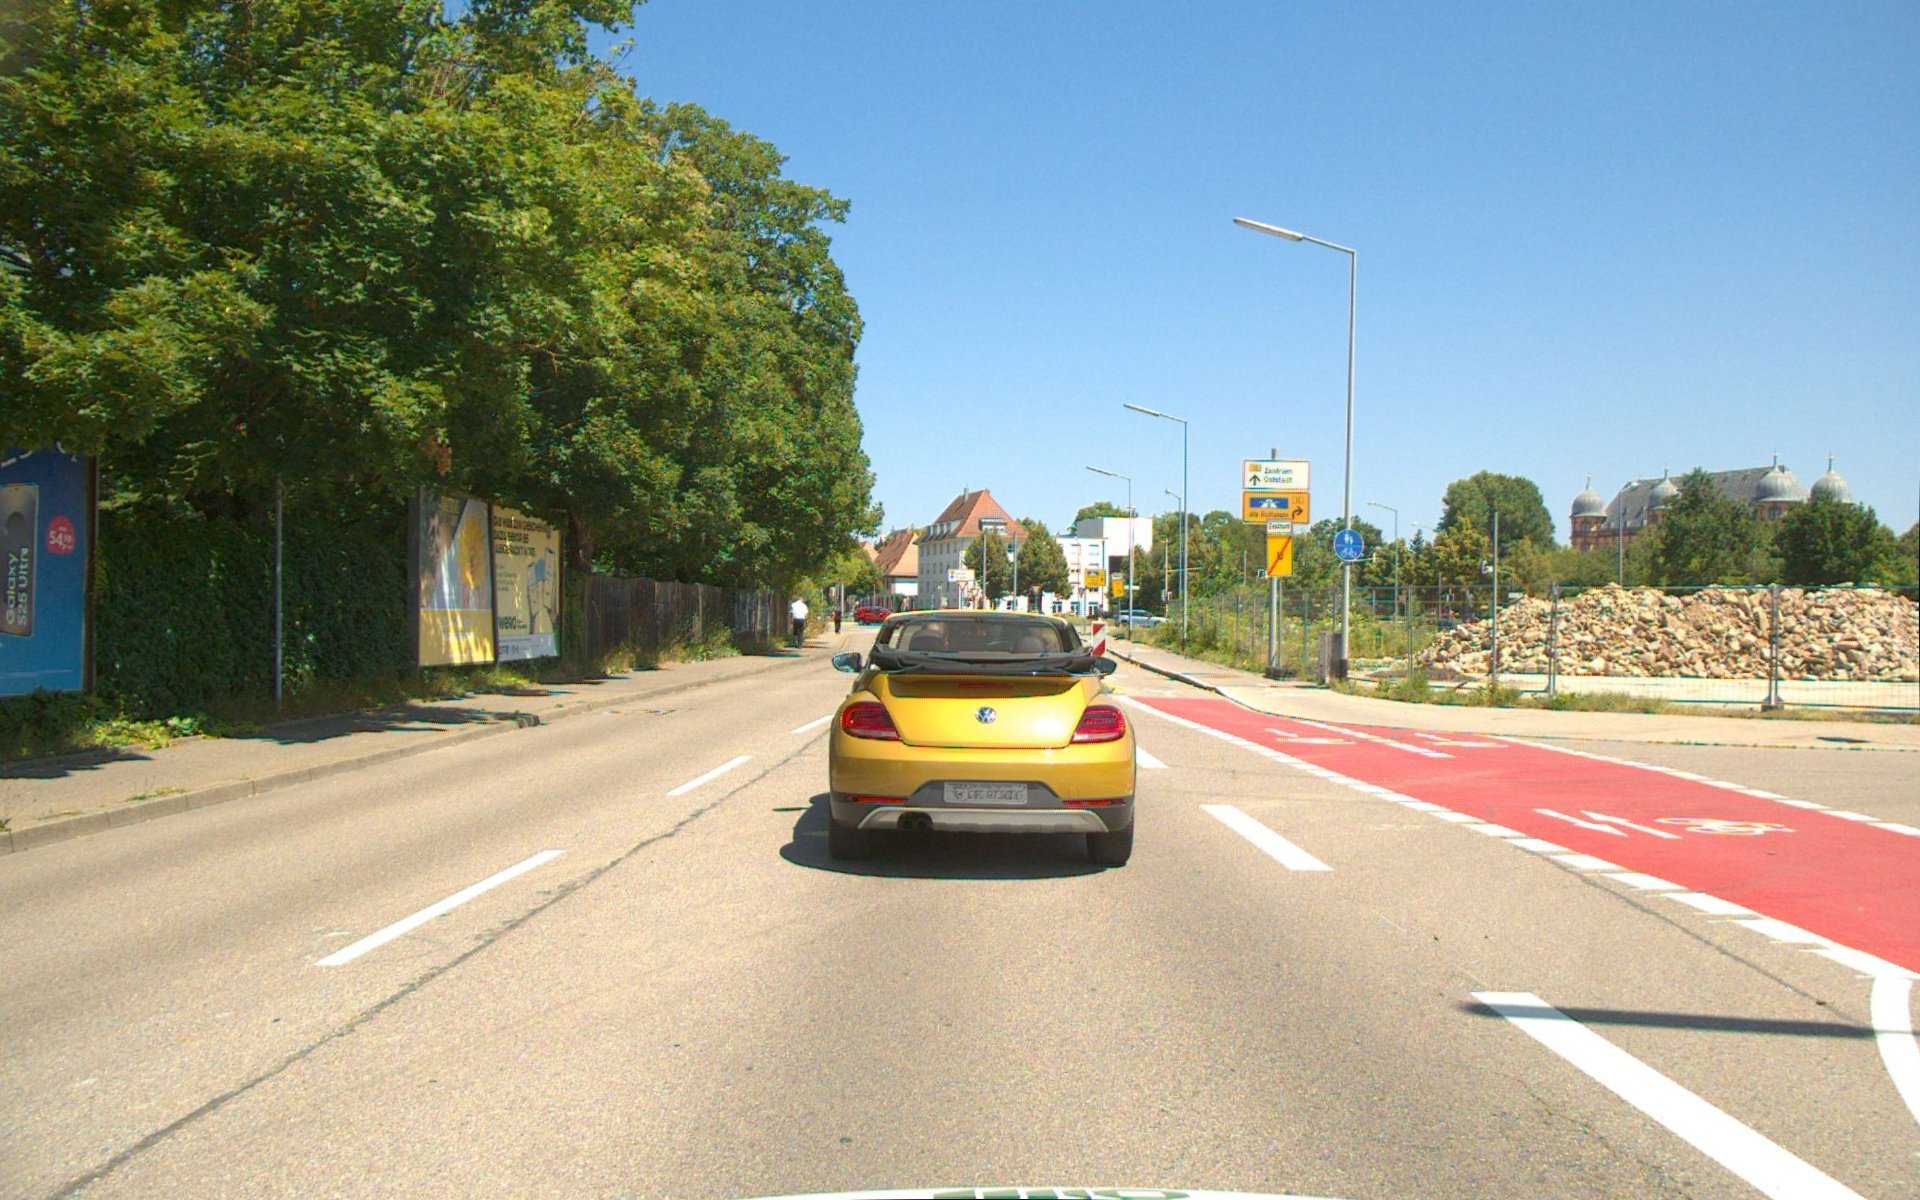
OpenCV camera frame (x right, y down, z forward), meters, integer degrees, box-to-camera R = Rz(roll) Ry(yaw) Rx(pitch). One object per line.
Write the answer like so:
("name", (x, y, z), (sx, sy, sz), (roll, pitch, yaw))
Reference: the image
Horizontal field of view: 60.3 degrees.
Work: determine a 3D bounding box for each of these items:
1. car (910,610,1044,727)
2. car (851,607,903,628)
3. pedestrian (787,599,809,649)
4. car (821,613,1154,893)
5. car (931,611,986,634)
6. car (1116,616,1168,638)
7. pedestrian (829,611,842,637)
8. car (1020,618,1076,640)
("car", (0.285, 0.894, 23.050), (1.691, 1.468, 4.001), (0, -1, 2))
("car", (-6.892, 1.481, 137.926), (3.977, 1.706, 1.786), (0, -1, 14))
("pedestrian", (-5.679, 0.839, 58.002), (0.708, 1.756, 0.818), (0, -1, -2))
("car", (0.156, 0.825, 10.646), (1.753, 1.462, 3.813), (0, 0, 0))
("car", (-0.127, 1.735, 127.772), (3.977, 1.706, 1.786), (0, -1, 9))
("car", (14.224, 2.104, 129.256), (3.902, 1.580, 1.994), (2, 0, 9))
("pedestrian", (-7.232, 1.387, 96.345), (0.708, 1.480, 0.818), (0, -1, -2))
("car", (6.494, 2.128, 122.294), (3.902, 1.641, 1.792), (0, -1, 12))
